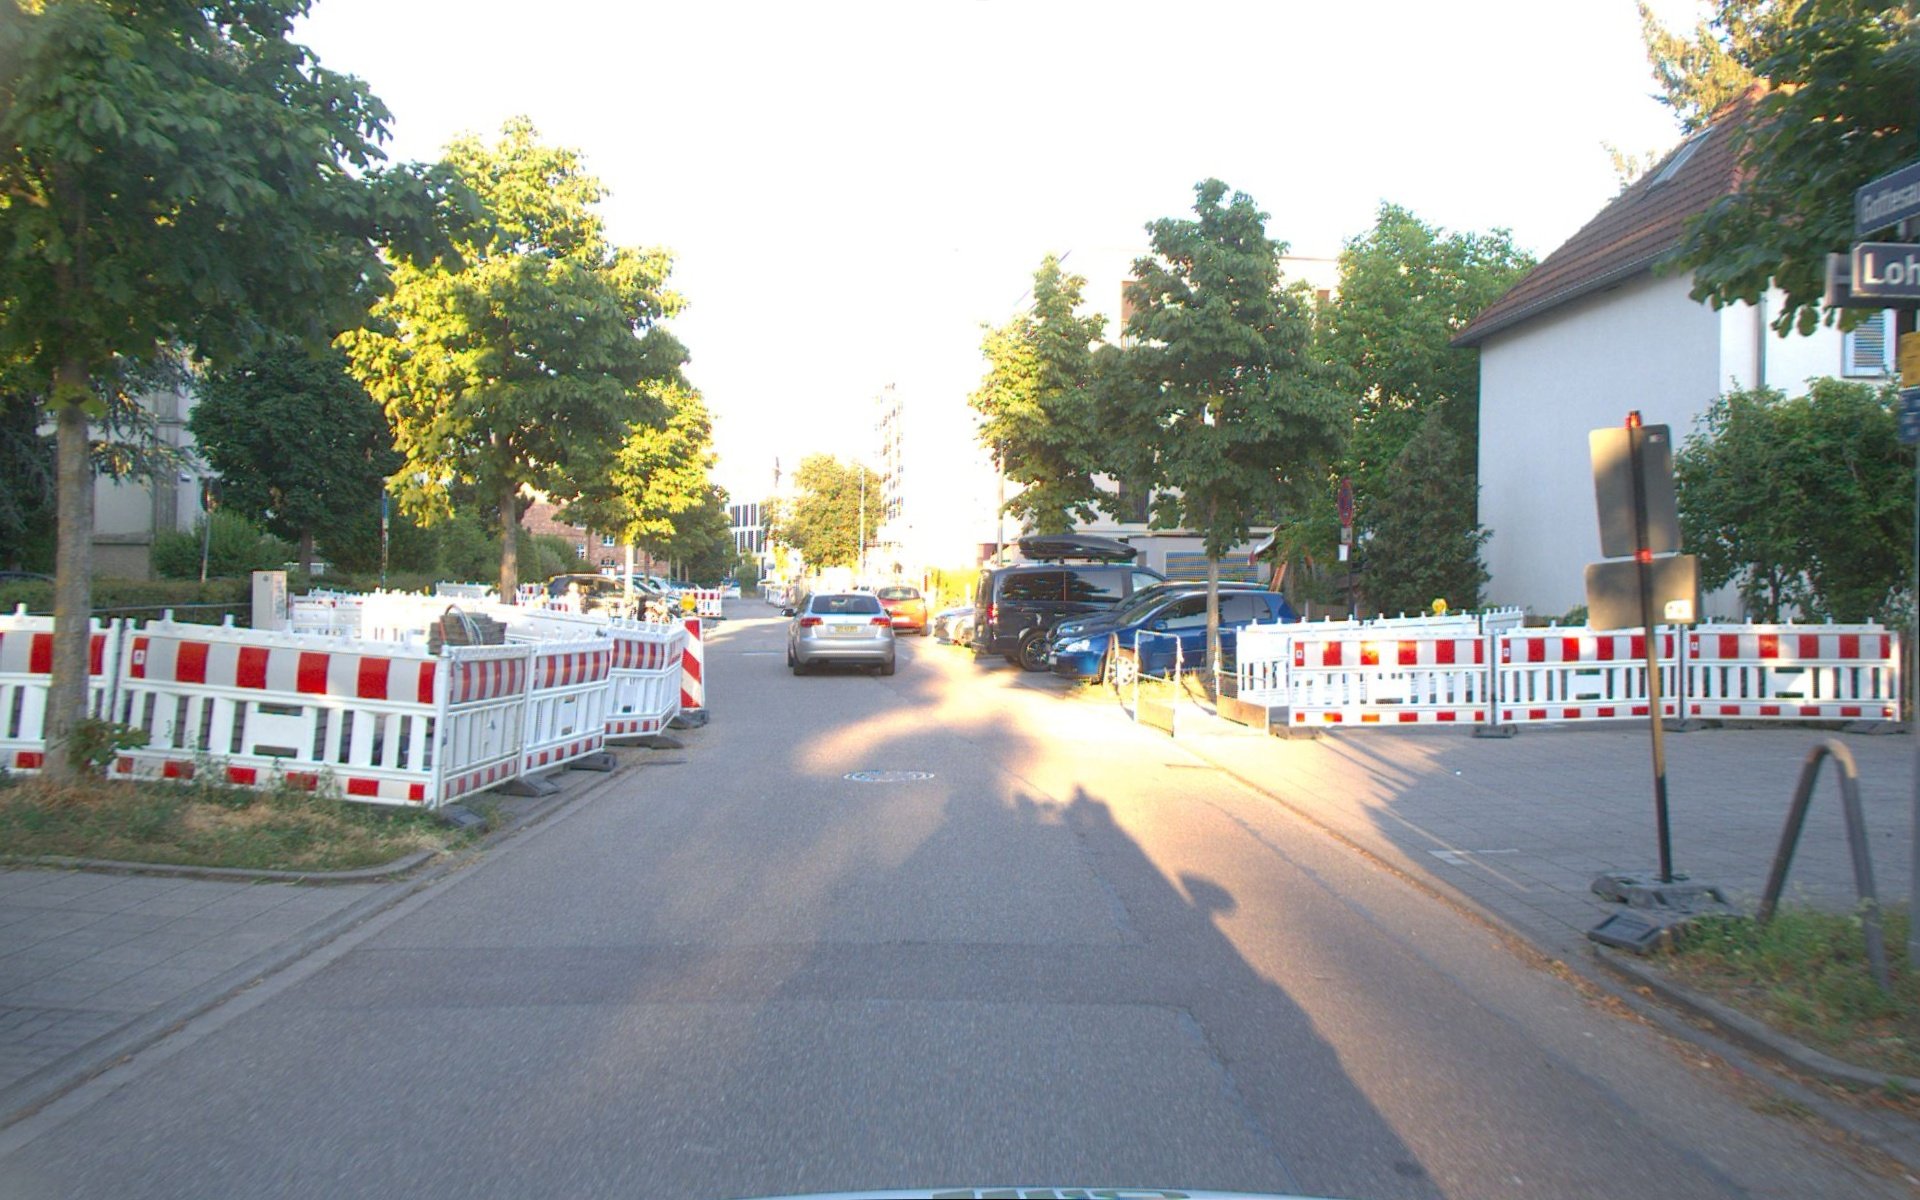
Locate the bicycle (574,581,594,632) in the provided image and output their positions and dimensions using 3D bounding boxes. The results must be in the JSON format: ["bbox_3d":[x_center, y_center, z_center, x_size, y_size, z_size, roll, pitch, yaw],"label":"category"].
[{"bbox_3d":[-9.701,0.157,42.695,0.398,1.248,1.982,1,1,-10],"label":"bicycle"}]

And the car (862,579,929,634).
[{"bbox_3d":[-1.914,0.169,48.495,1.697,1.509,3.553,1,1,-6],"label":"car"}]

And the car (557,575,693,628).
[{"bbox_3d":[-10.046,0.040,49.892,3.914,1.506,1.996,1,0,-10],"label":"car"}]

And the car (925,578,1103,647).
[{"bbox_3d":[1.304,0.298,40.833,4.077,1.599,1.792,1,1,-13],"label":"car"}]

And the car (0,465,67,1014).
[{"bbox_3d":[-5.022,0.420,4.727,3.908,1.783,1.798,1,1,-4],"label":"car"}]

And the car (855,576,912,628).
[{"bbox_3d":[-2.527,0.047,54.064,1.632,1.600,3.436,1,1,-6],"label":"car"}]

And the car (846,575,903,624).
[{"bbox_3d":[-3.078,-0.038,58.908,1.774,1.641,3.576,1,1,-6],"label":"car"}]

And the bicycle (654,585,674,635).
[{"bbox_3d":[-7.690,0.238,42.938,0.399,1.248,1.981,1,1,-13],"label":"bicycle"}]

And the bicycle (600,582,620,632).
[{"bbox_3d":[-9.072,0.163,42.892,0.398,1.248,1.982,1,1,-10],"label":"bicycle"}]

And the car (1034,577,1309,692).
[{"bbox_3d":[3.296,0.531,26.015,3.917,1.680,1.759,1,1,-13],"label":"car"}]

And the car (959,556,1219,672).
[{"bbox_3d":[2.366,0.243,30.929,4.474,2.058,2.096,1,1,-10],"label":"car"}]

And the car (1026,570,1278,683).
[{"bbox_3d":[3.269,0.437,28.626,3.914,1.799,1.996,1,1,-10],"label":"car"}]

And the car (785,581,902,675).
[{"bbox_3d":[-2.110,0.447,29.010,1.773,1.514,3.993,1,0,-8],"label":"car"}]

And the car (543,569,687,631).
[{"bbox_3d":[-9.825,-0.008,47.422,3.914,1.653,1.996,1,1,-10],"label":"car"}]

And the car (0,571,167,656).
[{"bbox_3d":[-18.237,0.253,33.410,3.640,1.617,1.757,1,1,-12],"label":"car"}]

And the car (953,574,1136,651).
[{"bbox_3d":[1.930,0.280,38.442,3.871,1.677,1.970,1,1,-13],"label":"car"}]

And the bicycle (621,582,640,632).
[{"bbox_3d":[-8.539,0.160,42.925,0.398,1.248,1.982,1,1,-10],"label":"bicycle"}]
